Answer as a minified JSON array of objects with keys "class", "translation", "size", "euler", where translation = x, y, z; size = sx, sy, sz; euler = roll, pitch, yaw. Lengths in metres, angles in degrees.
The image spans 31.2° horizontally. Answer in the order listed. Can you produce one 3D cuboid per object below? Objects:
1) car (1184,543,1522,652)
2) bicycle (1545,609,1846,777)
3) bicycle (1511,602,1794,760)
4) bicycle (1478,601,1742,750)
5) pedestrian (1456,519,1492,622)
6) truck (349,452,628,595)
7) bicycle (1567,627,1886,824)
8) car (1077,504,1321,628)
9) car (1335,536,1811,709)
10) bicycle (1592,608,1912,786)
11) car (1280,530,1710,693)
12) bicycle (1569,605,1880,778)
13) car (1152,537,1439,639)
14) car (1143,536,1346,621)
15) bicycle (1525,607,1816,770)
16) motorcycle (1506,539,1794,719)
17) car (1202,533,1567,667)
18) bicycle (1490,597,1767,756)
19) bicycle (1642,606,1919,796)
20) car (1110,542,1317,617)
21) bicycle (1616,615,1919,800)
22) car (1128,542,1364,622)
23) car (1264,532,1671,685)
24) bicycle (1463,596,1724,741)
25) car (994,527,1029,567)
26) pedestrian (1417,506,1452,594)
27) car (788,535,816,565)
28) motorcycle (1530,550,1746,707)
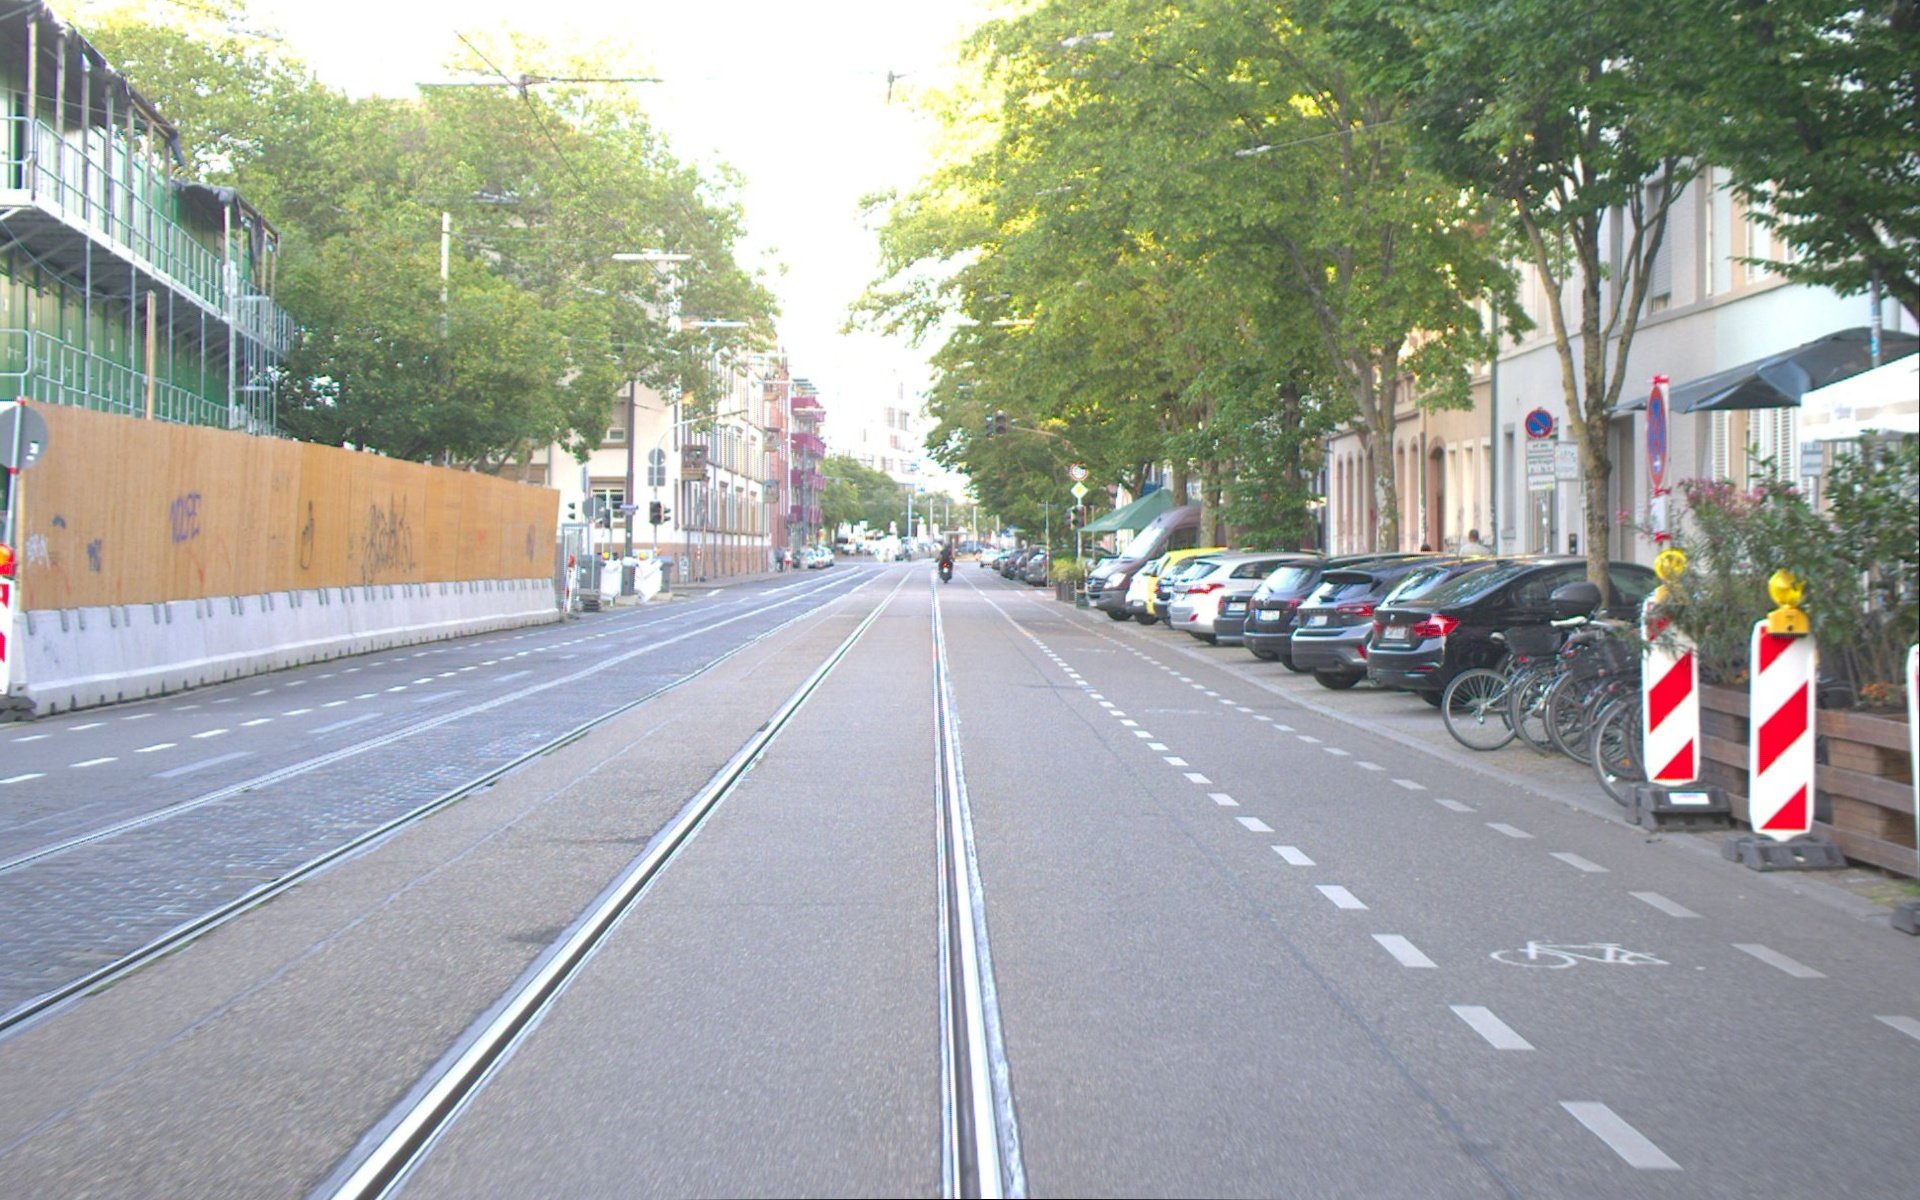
[{"class":"car","translation":[5.520,-0.049,48.312],"size":[4.249,1.387,2.016],"euler":[-2,1,-23]},{"class":"bicycle","translation":[5.045,0.630,23.624],"size":[1.886,1.028,0.608],"euler":[-3,1,-2]},{"class":"bicycle","translation":[5.038,0.584,25.073],"size":[1.886,1.028,0.608],"euler":[-3,1,-2]},{"class":"bicycle","translation":[4.991,0.574,26.436],"size":[1.863,1.028,0.591],"euler":[-3,1,-2]},{"class":"pedestrian","translation":[9.081,-0.522,60.772],"size":[0.565,1.808,0.607],"euler":[0,1,2]},{"class":"truck","translation":[-12.511,-2.044,91.645],"size":[7.056,3.468,2.542],"euler":[2,1,-4]},{"class":"bicycle","translation":[4.444,0.720,19.973],"size":[1.678,1.028,0.557],"euler":[-3,1,-2]},{"class":"car","translation":[5.440,-0.784,78.361],"size":[5.093,2.633,2.022],"euler":[-2,1,-17]},{"class":"car","translation":[5.980,0.187,33.616],"size":[4.160,1.421,1.824],"euler":[-3,1,-19]},{"class":"bicycle","translation":[5.120,0.622,22.283],"size":[1.886,1.028,0.608],"euler":[-3,1,-2]},{"class":"car","translation":[5.621,0.097,36.269],"size":[3.948,1.465,2.002],"euler":[-3,1,-16]},{"class":"bicycle","translation":[5.088,0.600,22.926],"size":[1.886,1.028,0.608],"euler":[-3,1,-2]},{"class":"car","translation":[5.483,-0.208,56.441],"size":[4.249,1.543,2.020],"euler":[-1,1,-11]},{"class":"car","translation":[5.761,-0.434,70.020],"size":[3.950,1.614,1.921],"euler":[-1,0,0]},{"class":"bicycle","translation":[5.024,0.619,24.375],"size":[1.886,1.028,0.608],"euler":[-3,1,-2]},{"class":"motorcycle","translation":[5.921,0.234,29.589],"size":[2.222,1.456,0.968],"euler":[-2,1,-2]},{"class":"car","translation":[5.419,-0.018,43.921],"size":[4.115,1.465,2.016],"euler":[-3,2,-24]},{"class":"bicycle","translation":[4.995,0.564,25.747],"size":[1.886,1.064,0.674],"euler":[-3,1,-2]},{"class":"bicycle","translation":[5.121,0.600,20.811],"size":[1.815,1.028,0.608],"euler":[-3,1,-2]},{"class":"car","translation":[5.429,-0.438,73.696],"size":[3.949,1.481,1.921],"euler":[-2,0,-24]},{"class":"bicycle","translation":[5.141,0.666,21.567],"size":[1.886,1.028,0.608],"euler":[-3,1,-2]},{"class":"car","translation":[5.536,-0.347,66.566],"size":[4.120,1.420,1.921],"euler":[-2,0,-25]},{"class":"car","translation":[5.722,0.074,38.829],"size":[4.115,1.465,1.824],"euler":[-3,1,-19]},{"class":"bicycle","translation":[4.979,0.534,27.066],"size":[1.903,1.028,0.533],"euler":[-3,1,-2]},{"class":"car","translation":[2.657,-2.751,178.117],"size":[1.721,2.007,4.000],"euler":[1,1,0]},{"class":"pedestrian","translation":[8.421,-0.888,60.984],"size":[0.538,1.563,0.813],"euler":[0,1,2]},{"class":"car","translation":[-11.508,-3.631,250.788],"size":[1.898,2.171,4.000],"euler":[1,1,0]},{"class":"motorcycle","translation":[6.076,0.247,30.849],"size":[1.786,1.339,0.533],"euler":[-2,1,-2]}]
